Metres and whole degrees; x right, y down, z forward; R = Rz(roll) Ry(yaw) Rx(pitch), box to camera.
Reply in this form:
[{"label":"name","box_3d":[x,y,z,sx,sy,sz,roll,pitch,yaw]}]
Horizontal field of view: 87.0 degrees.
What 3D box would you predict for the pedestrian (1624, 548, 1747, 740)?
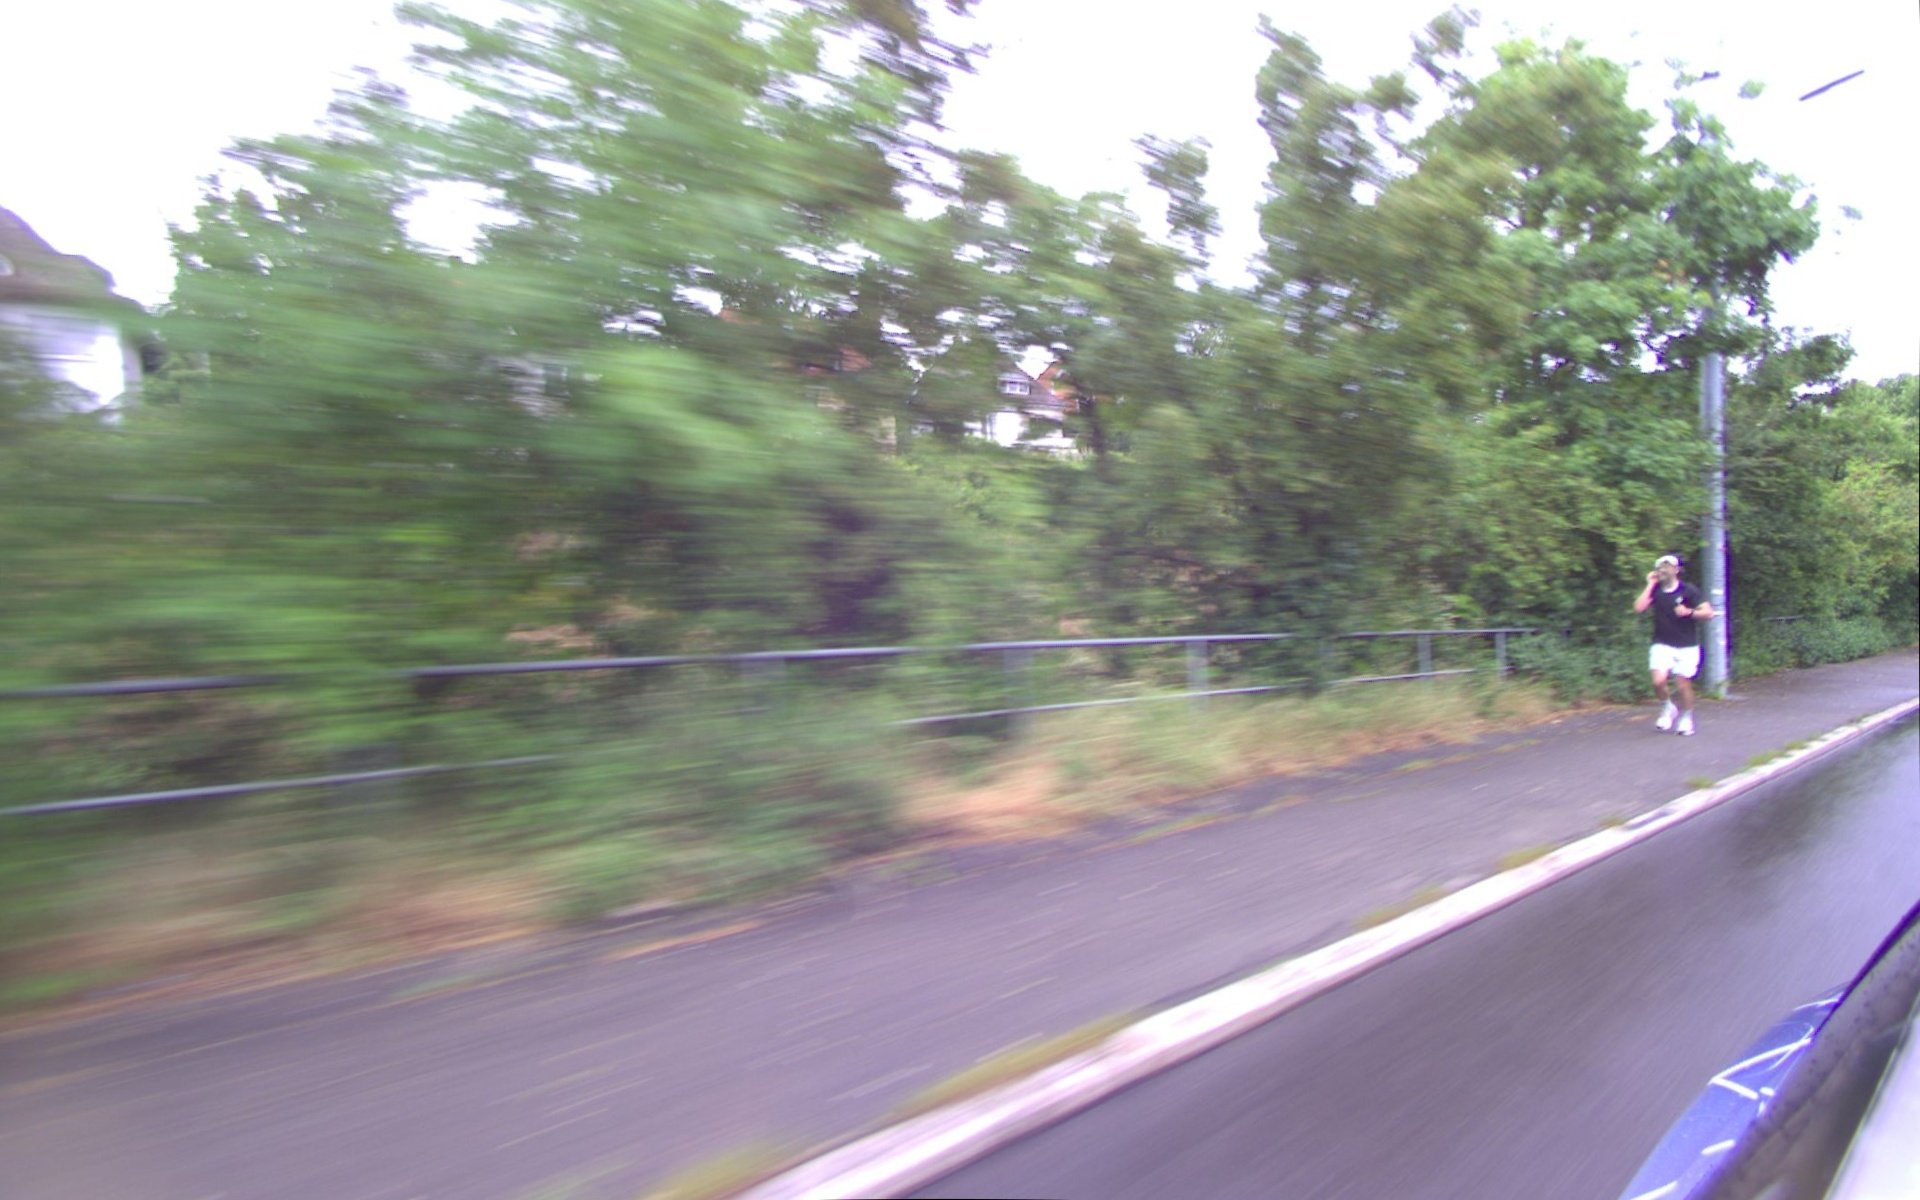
[{"label":"pedestrian","box_3d":[7.470,0.412,10.415,1.003,1.857,0.719,0,2,-38]}]
